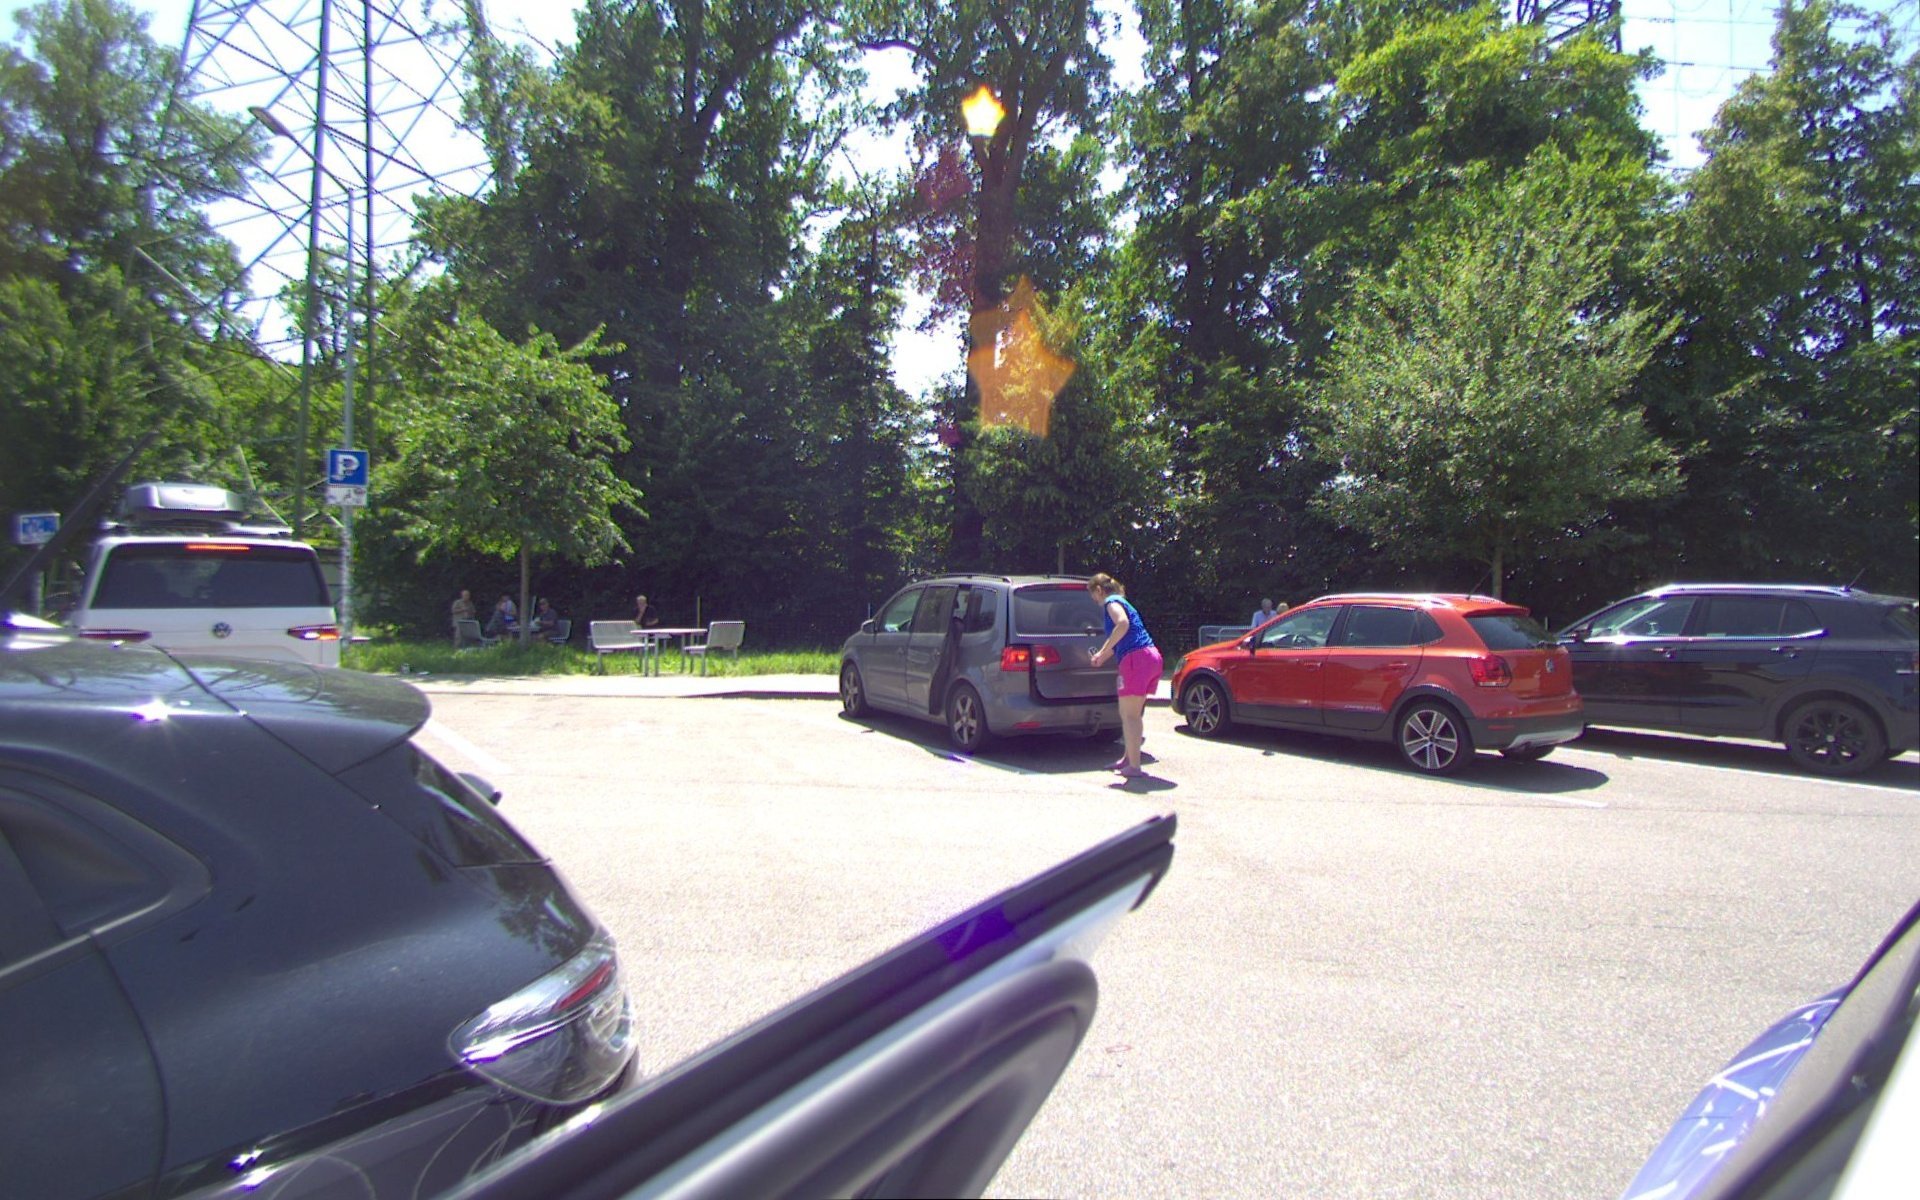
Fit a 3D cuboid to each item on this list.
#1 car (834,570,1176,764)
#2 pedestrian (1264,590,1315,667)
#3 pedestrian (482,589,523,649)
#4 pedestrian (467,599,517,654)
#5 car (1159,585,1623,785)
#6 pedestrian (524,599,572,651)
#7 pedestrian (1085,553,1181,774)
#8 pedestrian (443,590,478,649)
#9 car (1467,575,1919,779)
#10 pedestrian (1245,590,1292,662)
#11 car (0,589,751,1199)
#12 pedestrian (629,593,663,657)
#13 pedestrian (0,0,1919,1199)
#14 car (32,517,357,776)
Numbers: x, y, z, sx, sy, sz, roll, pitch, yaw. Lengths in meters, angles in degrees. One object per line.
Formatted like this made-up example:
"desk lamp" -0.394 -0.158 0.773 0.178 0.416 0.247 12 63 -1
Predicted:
"car" 0.248 0.516 10.523 1.713 1.601 3.996 0 1 -29
"pedestrian" 5.774 0.484 17.766 0.657 1.311 0.783 0 0 3
"pedestrian" -11.068 0.457 24.472 0.664 1.422 0.643 0 0 32
"pedestrian" -10.525 0.586 22.774 0.873 1.192 0.668 0 0 -41
"car" 3.849 0.608 9.654 1.687 1.484 3.793 0 1 -32
"pedestrian" -9.609 0.573 23.628 0.873 1.192 0.668 0 0 -41
"pedestrian" 1.436 0.485 8.314 0.723 1.703 0.916 0 0 13
"pedestrian" -12.295 0.461 24.903 0.657 1.422 0.649 0 0 -39
"car" 7.175 0.573 9.714 1.690 1.593 3.787 0 1 -39
"pedestrian" 5.779 0.473 18.978 0.657 1.311 0.783 0 0 3
"car" -2.206 0.720 0.604 1.737 1.501 3.757 0 0 44
"pedestrian" -6.597 0.519 21.271 0.655 1.311 0.786 0 0 -16
"pedestrian" -0.051 0.540 0.467 0.874 1.865 0.621 0 0 -38
"car" -7.595 0.303 9.847 4.550 1.936 1.882 1 1 44
